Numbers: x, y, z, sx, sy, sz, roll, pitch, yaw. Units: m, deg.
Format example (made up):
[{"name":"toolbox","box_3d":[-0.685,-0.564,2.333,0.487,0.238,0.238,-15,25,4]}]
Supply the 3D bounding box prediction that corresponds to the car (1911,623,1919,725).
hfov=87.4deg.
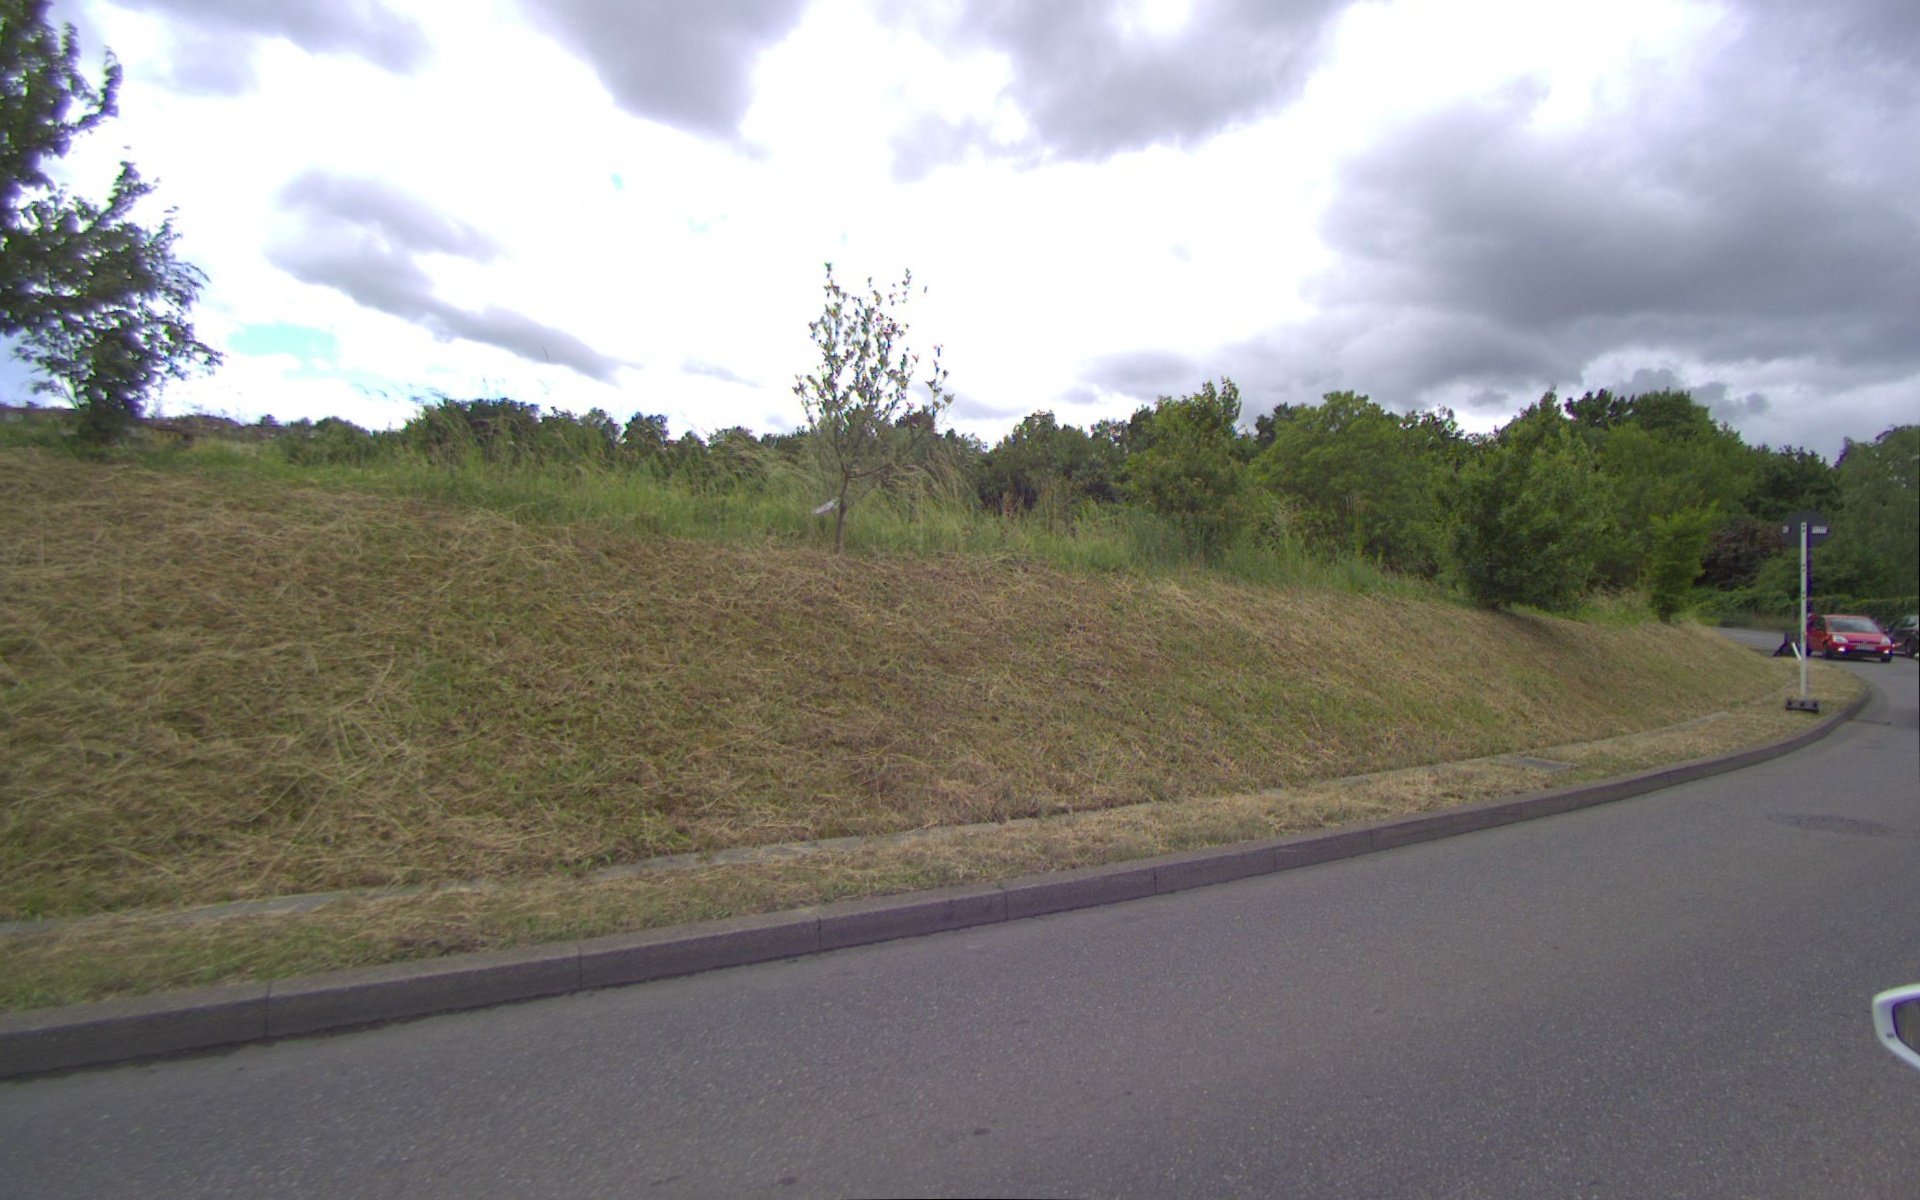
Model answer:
[{"name":"car","box_3d":[16.500,1.117,15.834,4.567,1.497,1.865,0,0,-42]}]

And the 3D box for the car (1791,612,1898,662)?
[{"name":"car","box_3d":[29.869,1.187,34.053,1.714,1.435,3.749,2,2,26]}]

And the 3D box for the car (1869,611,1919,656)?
[{"name":"car","box_3d":[34.322,1.173,35.853,1.812,1.503,3.994,1,0,28]}]
